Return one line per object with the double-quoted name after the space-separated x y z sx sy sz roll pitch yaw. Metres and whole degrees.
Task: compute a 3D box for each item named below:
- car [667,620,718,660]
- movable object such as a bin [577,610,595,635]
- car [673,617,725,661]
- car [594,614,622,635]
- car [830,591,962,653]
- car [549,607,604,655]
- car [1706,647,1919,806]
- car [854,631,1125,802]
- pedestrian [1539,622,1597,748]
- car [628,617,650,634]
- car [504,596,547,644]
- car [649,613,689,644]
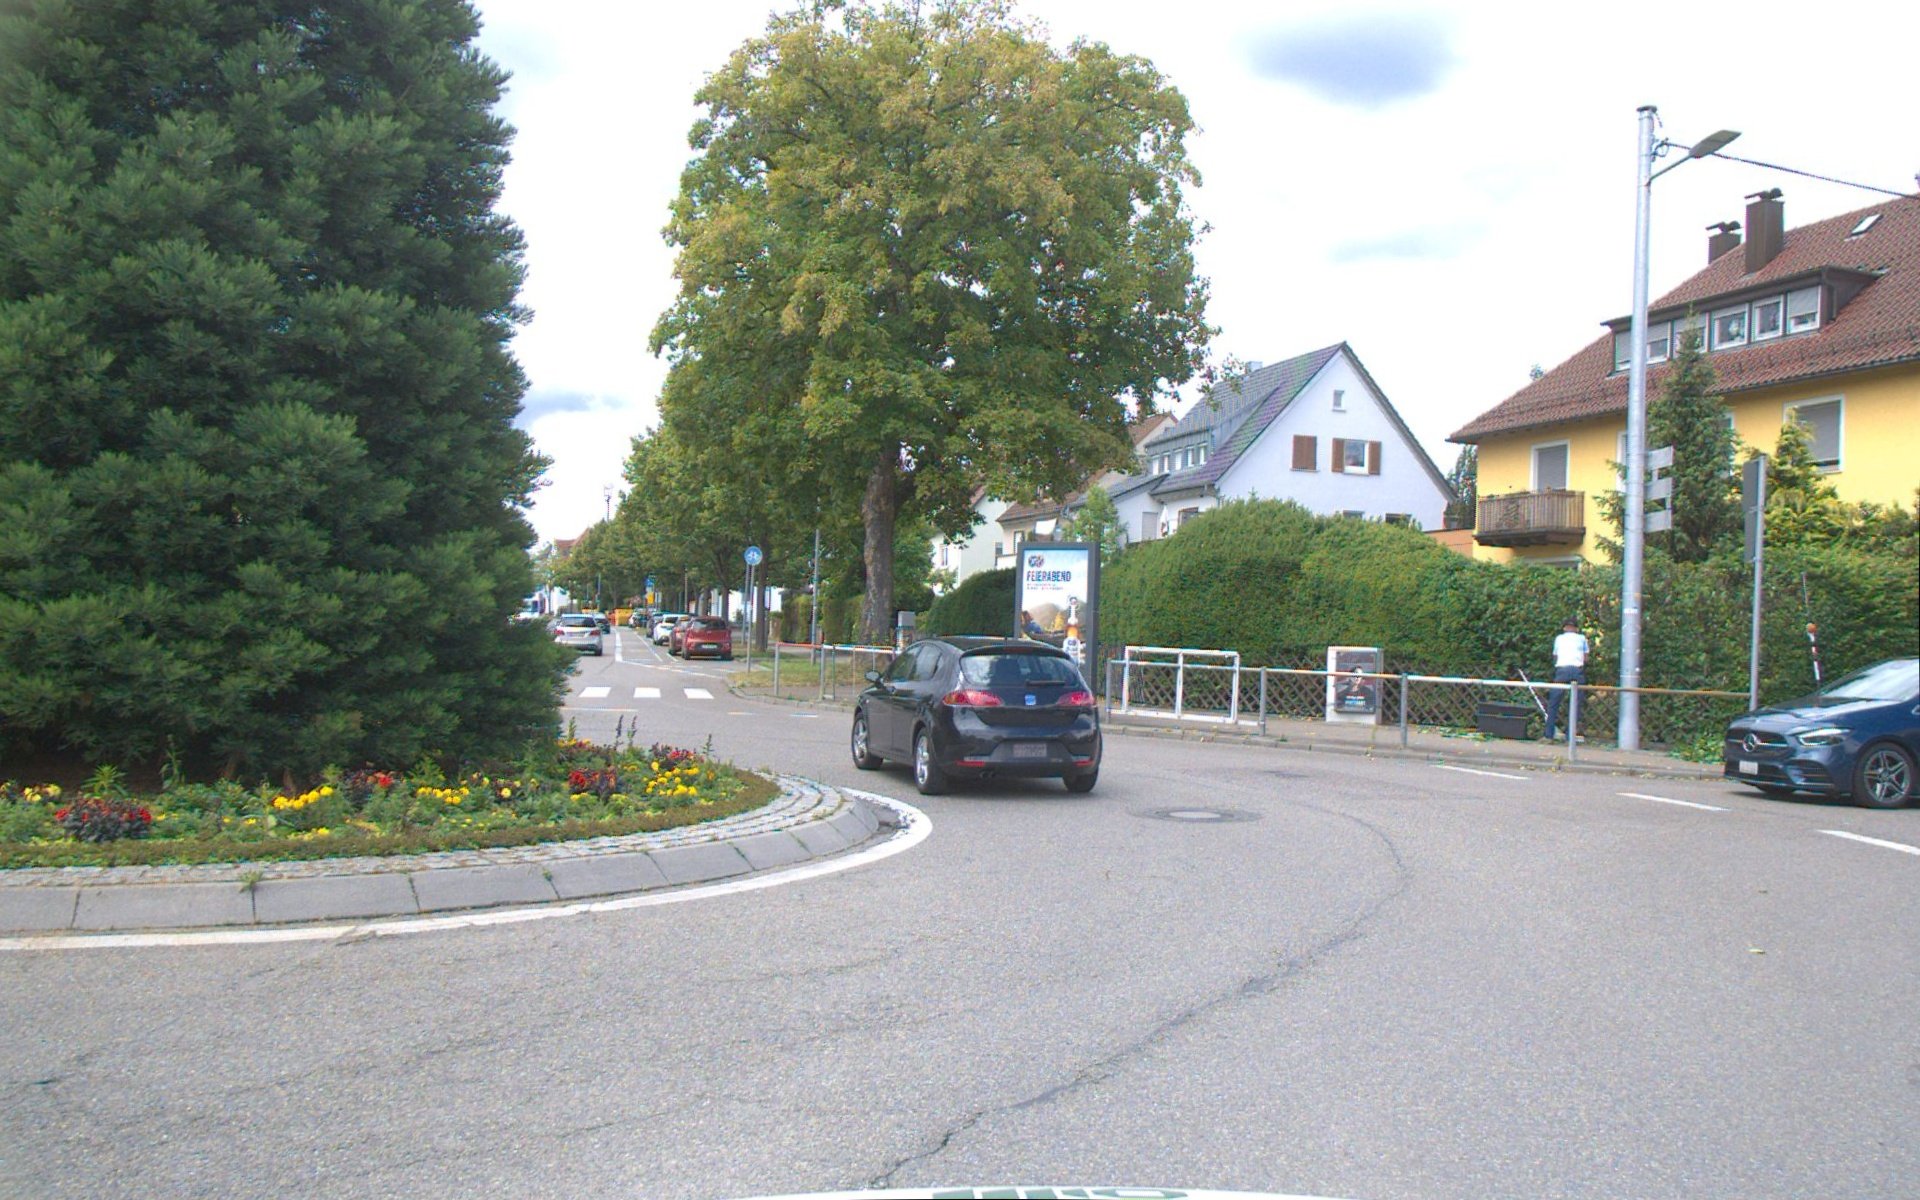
-10.240 1.488 63.116 1.625 1.441 4.161 0 0 -14 "car"
-40.540 2.407 179.175 1.739 2.619 3.725 2 -1 -15 "movable object such as a bin"
-9.135 1.361 57.695 1.538 1.481 3.656 2 -2 -12 "car"
-24.532 1.674 115.124 1.779 1.399 3.679 1 -1 -14 "car"
-2.903 1.006 74.776 5.622 2.637 1.988 2 0 -17 "car"
-14.131 1.123 60.851 1.874 1.715 3.725 1 -1 -15 "car"
10.080 1.288 17.021 4.228 1.474 1.580 2 -1 -10 "car"
0.165 1.065 16.577 1.788 1.463 3.725 1 -1 -15 "car"
8.397 1.160 22.837 0.640 1.685 0.593 1 -1 29 "pedestrian"
-28.901 2.267 148.909 1.676 1.480 4.600 1 -1 -13 "car"
-25.719 1.192 98.087 1.982 2.721 5.791 2 -1 -10 "car"
-13.870 1.320 78.777 1.625 1.441 4.161 0 0 -14 "car"
